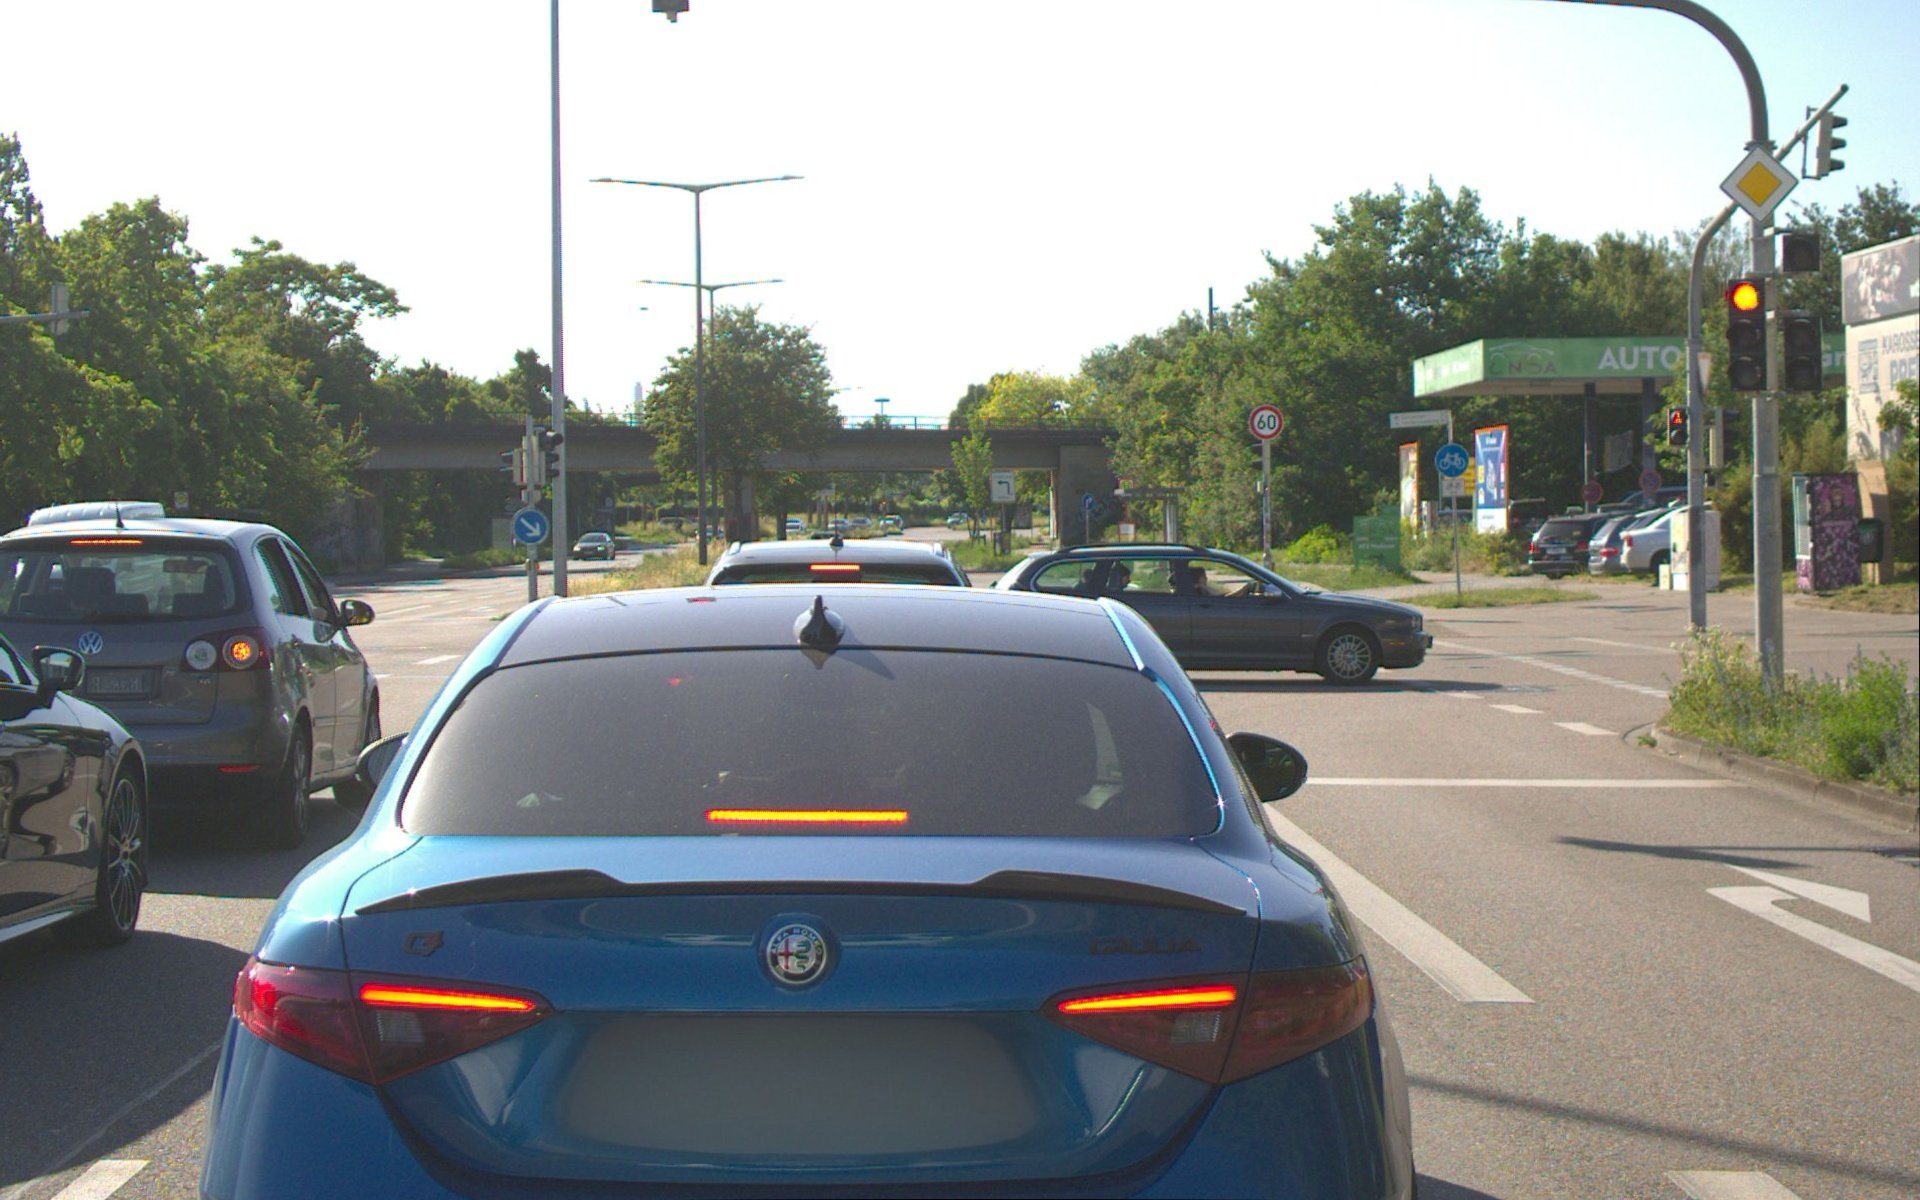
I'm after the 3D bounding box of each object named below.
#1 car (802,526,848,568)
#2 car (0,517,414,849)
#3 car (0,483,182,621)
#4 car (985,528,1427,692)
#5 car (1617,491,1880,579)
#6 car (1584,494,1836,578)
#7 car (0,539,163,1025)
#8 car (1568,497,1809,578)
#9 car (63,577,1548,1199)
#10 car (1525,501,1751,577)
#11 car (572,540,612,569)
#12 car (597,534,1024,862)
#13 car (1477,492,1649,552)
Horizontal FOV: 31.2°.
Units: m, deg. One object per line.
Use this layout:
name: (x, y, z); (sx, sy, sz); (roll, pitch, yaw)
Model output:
car: (-5.989, -2.351, 152.937); (1.891, 1.809, 4.000); (1, 1, -1)
car: (-3.993, 0.350, 17.725); (1.759, 1.485, 4.403); (1, 1, -2)
car: (-16.847, -0.940, 66.902); (2.022, 2.439, 5.822); (-4, 1, -1)
car: (2.505, 0.090, 35.659); (4.411, 1.485, 1.765); (-2, 1, 1)
car: (14.776, -1.216, 64.578); (4.489, 1.449, 1.858); (-2, 1, 1)
car: (14.660, -1.254, 67.357); (4.489, 1.449, 1.858); (-2, 1, 1)
car: (-3.828, 0.544, 10.626); (1.796, 1.485, 4.476); (1, 1, -2)
car: (14.816, -1.271, 70.111); (4.489, 1.449, 1.858); (-2, 1, 1)
car: (-0.261, 0.684, 6.616); (1.895, 1.413, 4.403); (1, 1, -2)
car: (14.596, -1.319, 74.162); (4.489, 1.449, 1.858); (-2, 1, 1)
car: (-20.538, -2.548, 192.024); (1.759, 1.485, 4.478); (-2, 1, 0)
car: (-0.717, 0.407, 17.249); (1.850, 1.413, 4.403); (1, 1, -2)
car: (17.045, -2.202, 97.325); (4.551, 1.485, 1.765); (-2, 1, 1)
